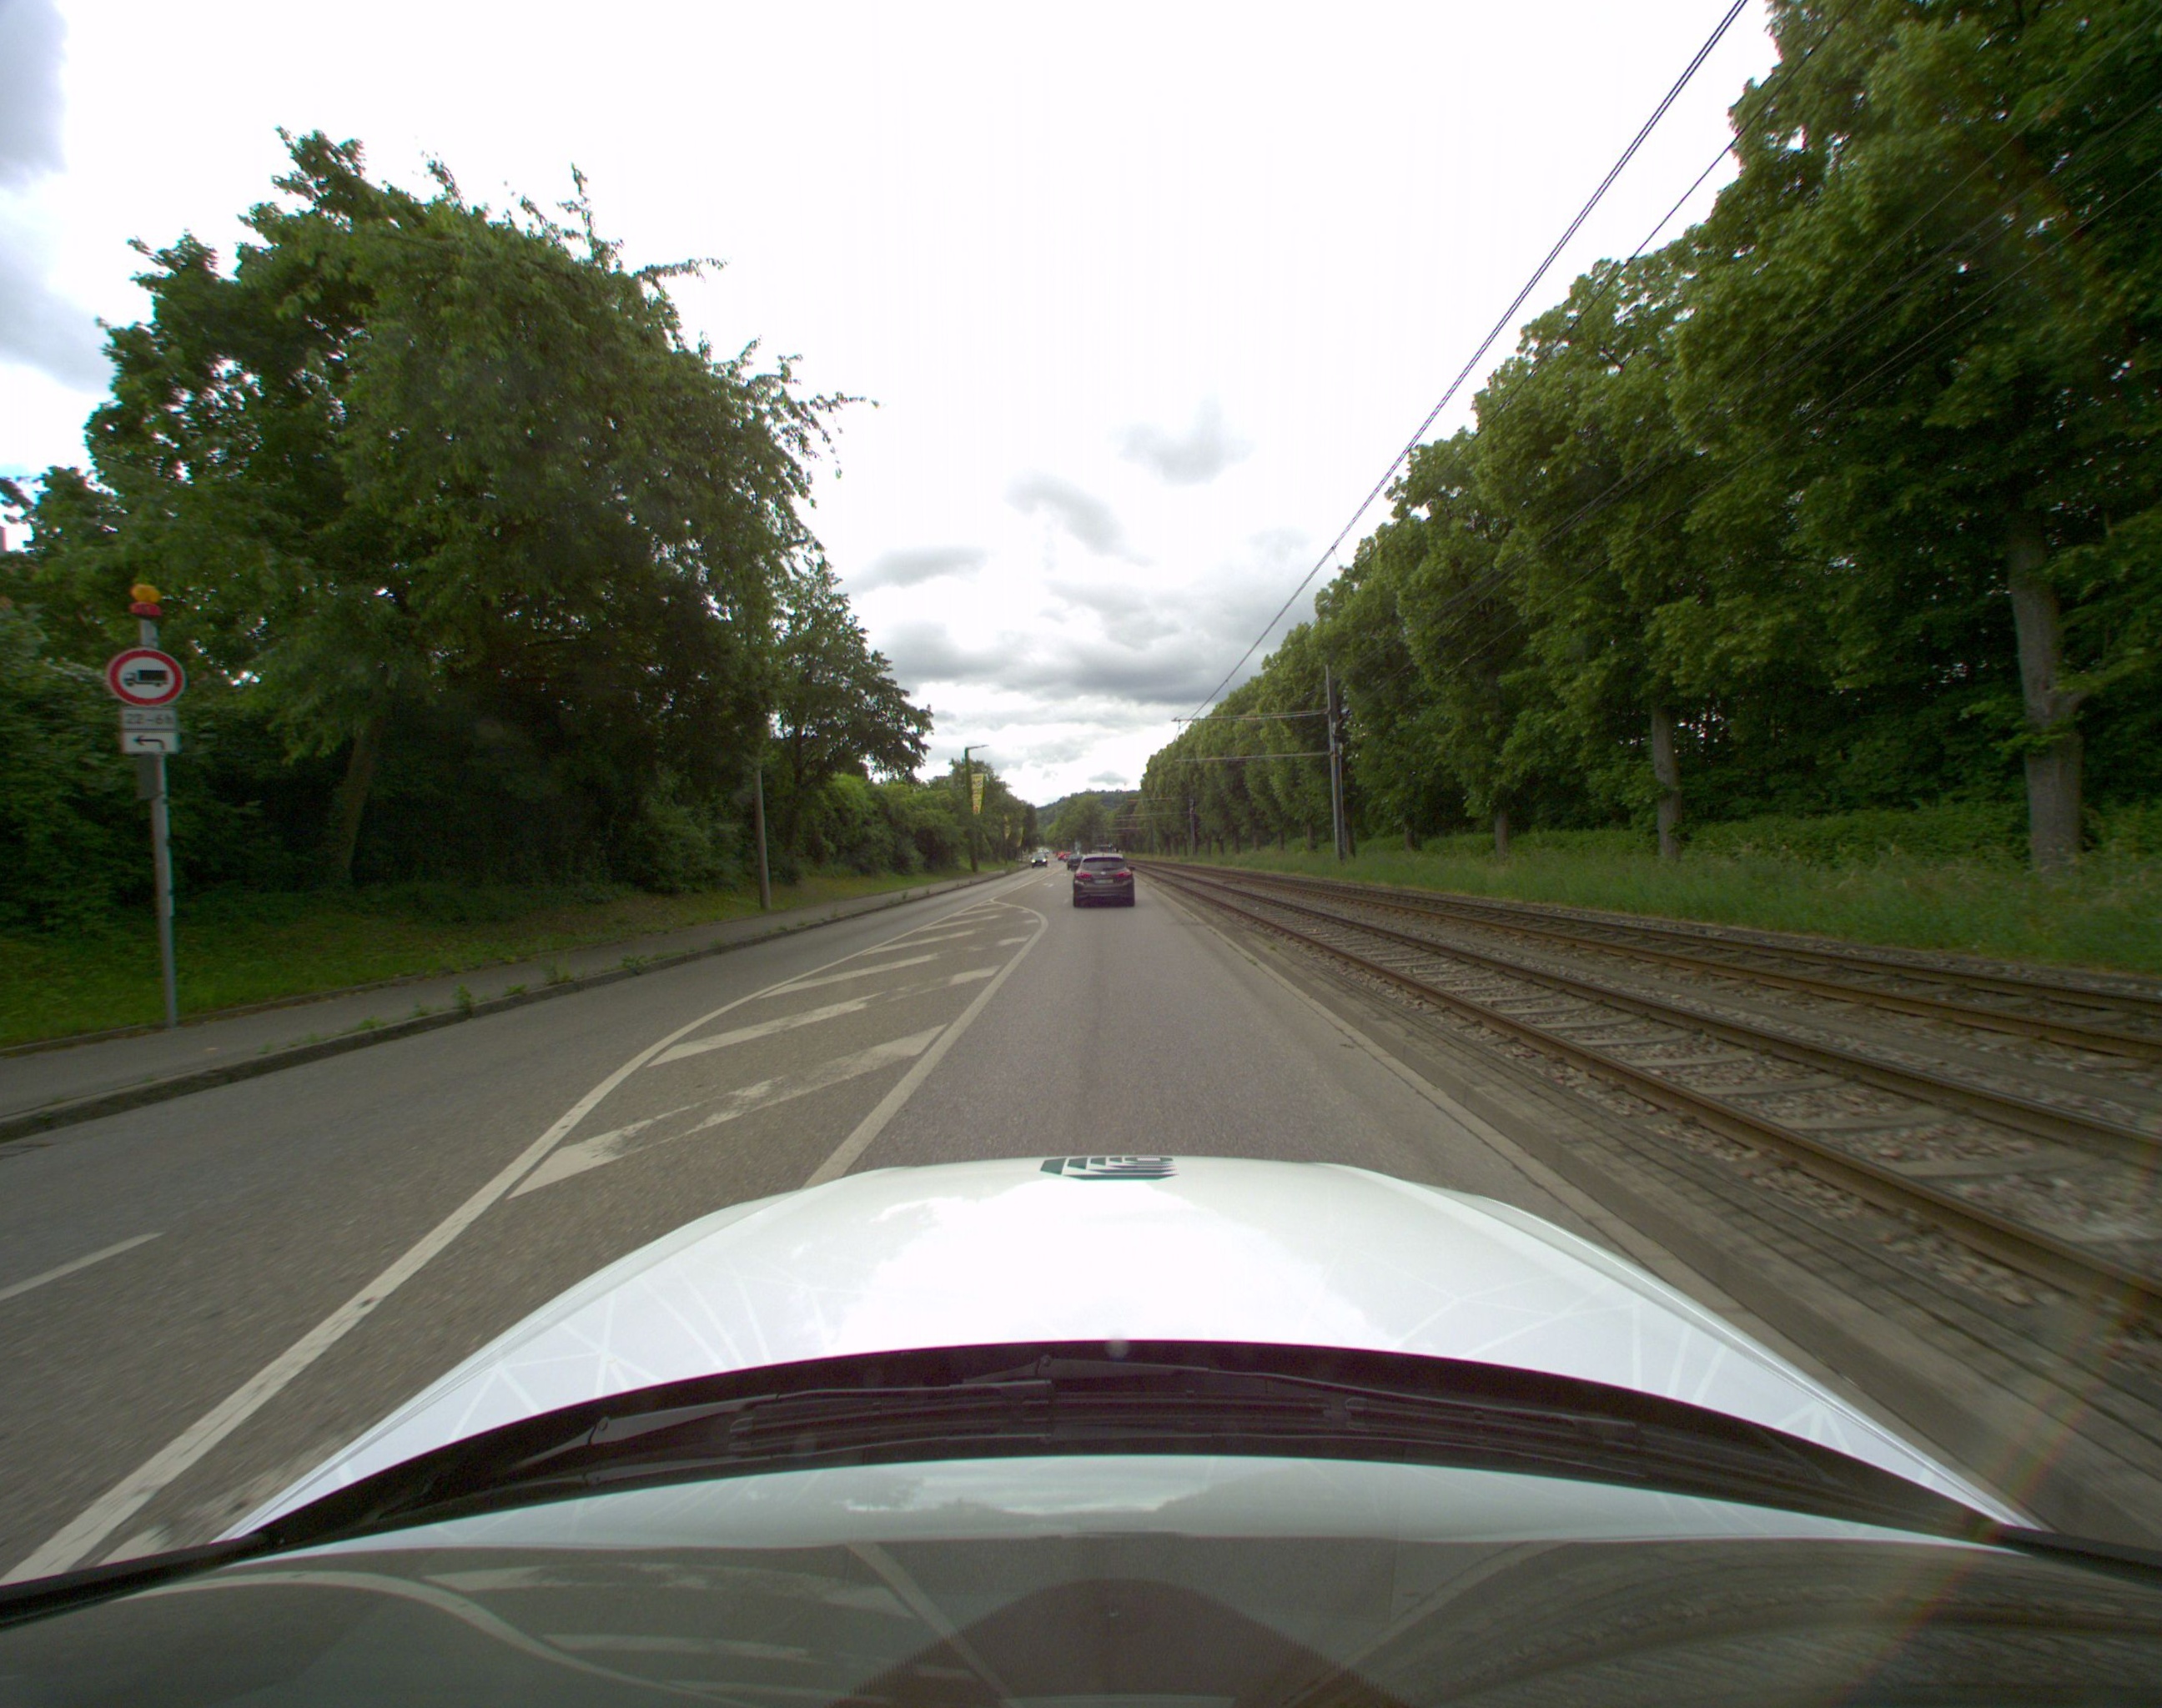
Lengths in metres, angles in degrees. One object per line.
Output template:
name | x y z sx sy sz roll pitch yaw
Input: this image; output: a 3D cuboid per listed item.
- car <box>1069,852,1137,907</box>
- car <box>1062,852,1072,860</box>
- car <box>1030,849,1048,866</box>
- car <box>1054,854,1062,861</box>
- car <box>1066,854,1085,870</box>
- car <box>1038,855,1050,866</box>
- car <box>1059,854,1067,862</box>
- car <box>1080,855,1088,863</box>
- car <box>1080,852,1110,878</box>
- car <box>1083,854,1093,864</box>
car | 0.677 0.695 24.486 1.843 1.493 4.002 -1 0 2
car | -2.708 0.364 160.575 1.787 1.510 4.002 -2 0 2
car | -5.441 0.489 106.380 1.987 2.036 5.114 -4 0 0
car | -5.776 0.767 207.331 1.693 1.714 4.002 -2 0 2
car | -0.525 0.748 79.110 1.694 1.443 3.999 -2 0 0
car | -6.318 1.118 140.587 1.836 1.620 4.158 -4 0 0
car | -4.451 0.965 197.446 1.693 1.714 4.002 -2 0 2
car | 0.630 1.030 164.570 1.710 1.550 3.999 -2 -1 0
car | 0.837 0.656 48.800 1.694 1.443 4.000 -2 0 1
car | 1.216 0.904 142.149 1.710 1.550 3.999 -2 -1 0
